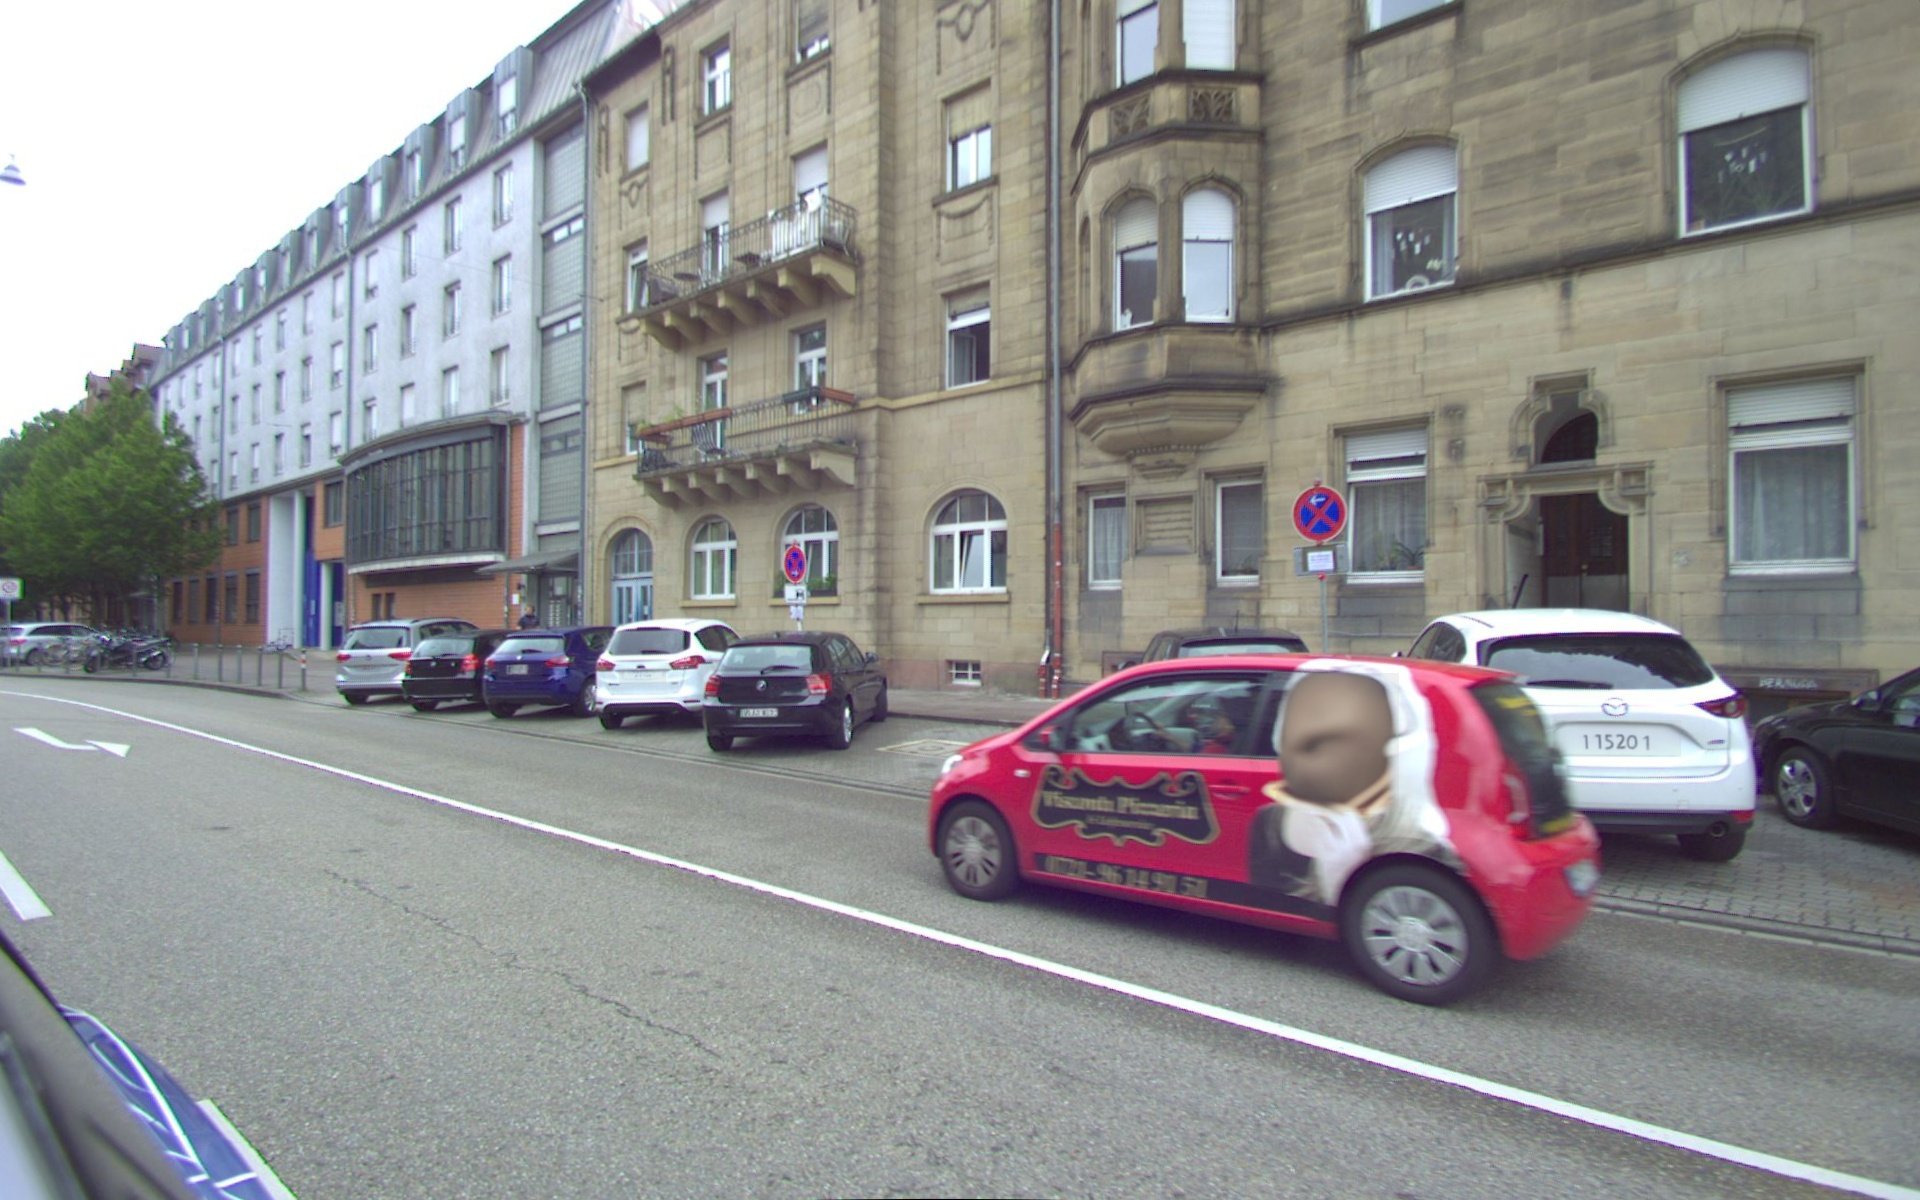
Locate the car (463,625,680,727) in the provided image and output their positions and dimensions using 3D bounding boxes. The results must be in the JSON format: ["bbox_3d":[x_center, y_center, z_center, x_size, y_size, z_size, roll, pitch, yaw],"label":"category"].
[{"bbox_3d":[-6.544,1.226,17.519,1.805,1.456,3.736,-1,0,11],"label":"car"}]

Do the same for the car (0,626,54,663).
[{"bbox_3d":[-44.350,2.020,46.195,1.984,1.641,3.976,0,-2,18],"label":"car"}]

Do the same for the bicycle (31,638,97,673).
[{"bbox_3d":[-29.911,1.833,33.812,0.416,1.082,1.609,-1,-1,40],"label":"bicycle"}]

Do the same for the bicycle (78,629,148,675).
[{"bbox_3d":[-26.150,1.593,31.257,0.416,1.363,1.609,-1,-1,40],"label":"bicycle"}]

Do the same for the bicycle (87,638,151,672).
[{"bbox_3d":[-28.346,1.840,34.123,0.416,1.082,1.609,-1,-1,40],"label":"bicycle"}]

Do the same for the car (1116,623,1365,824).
[{"bbox_3d":[2.517,1.018,9.952,1.549,1.508,3.809,0,0,3],"label":"car"}]

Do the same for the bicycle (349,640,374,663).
[{"bbox_3d":[-21.606,1.840,36.521,1.581,0.793,0.332,-2,-3,43],"label":"bicycle"}]

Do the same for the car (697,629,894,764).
[{"bbox_3d":[-2.005,1.144,13.485,1.641,1.428,3.993,0,0,6],"label":"car"}]

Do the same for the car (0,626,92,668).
[{"bbox_3d":[-37.701,1.868,40.568,1.984,1.641,3.976,0,-2,18],"label":"car"}]

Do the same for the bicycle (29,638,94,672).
[{"bbox_3d":[-30.265,1.835,34.099,0.416,1.082,1.609,-1,-1,40],"label":"bicycle"}]

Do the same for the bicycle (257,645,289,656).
[{"bbox_3d":[-28.405,2.091,41.853,0.527,0.440,0.997,1,-1,43],"label":"bicycle"}]

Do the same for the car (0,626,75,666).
[{"bbox_3d":[-39.905,1.899,42.250,1.984,1.641,3.976,0,-2,18],"label":"car"}]

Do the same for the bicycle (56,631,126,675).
[{"bbox_3d":[-27.046,1.625,31.508,0.416,1.299,1.609,-1,-1,40],"label":"bicycle"}]

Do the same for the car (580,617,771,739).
[{"bbox_3d":[-4.310,1.115,15.974,1.681,1.566,3.996,-1,0,3],"label":"car"}]

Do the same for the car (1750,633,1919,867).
[{"bbox_3d":[7.027,0.959,6.004,1.709,1.506,3.994,0,-2,4],"label":"car"}]

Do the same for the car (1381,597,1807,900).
[{"bbox_3d":[4.554,0.893,8.008,1.825,1.737,3.978,0,-1,17],"label":"car"}]

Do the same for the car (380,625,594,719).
[{"bbox_3d":[-8.760,1.282,19.149,1.714,1.449,3.989,-1,0,9],"label":"car"}]

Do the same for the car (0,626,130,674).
[{"bbox_3d":[-33.082,1.793,36.929,1.758,1.641,3.976,0,-2,18],"label":"car"}]

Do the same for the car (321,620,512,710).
[{"bbox_3d":[-11.128,1.271,21.069,1.710,1.566,3.998,-1,0,2],"label":"car"}]

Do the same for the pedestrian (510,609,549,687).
[{"bbox_3d":[-10.359,1.145,24.337,0.642,1.837,0.613,-2,-3,41],"label":"pedestrian"}]

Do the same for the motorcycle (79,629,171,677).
[{"bbox_3d":[-25.310,1.595,30.717,0.599,1.363,2.096,-1,-1,42],"label":"motorcycle"}]

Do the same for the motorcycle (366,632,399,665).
[{"bbox_3d":[-19.795,1.658,34.671,1.762,1.106,0.440,-2,-3,42],"label":"motorcycle"}]

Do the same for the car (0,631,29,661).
[{"bbox_3d":[-49.381,2.297,50.509,1.724,1.508,3.976,0,-2,18],"label":"car"}]

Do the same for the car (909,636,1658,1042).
[{"bbox_3d":[1.542,0.931,5.483,3.510,1.458,1.631,-2,-3,42],"label":"car"}]
